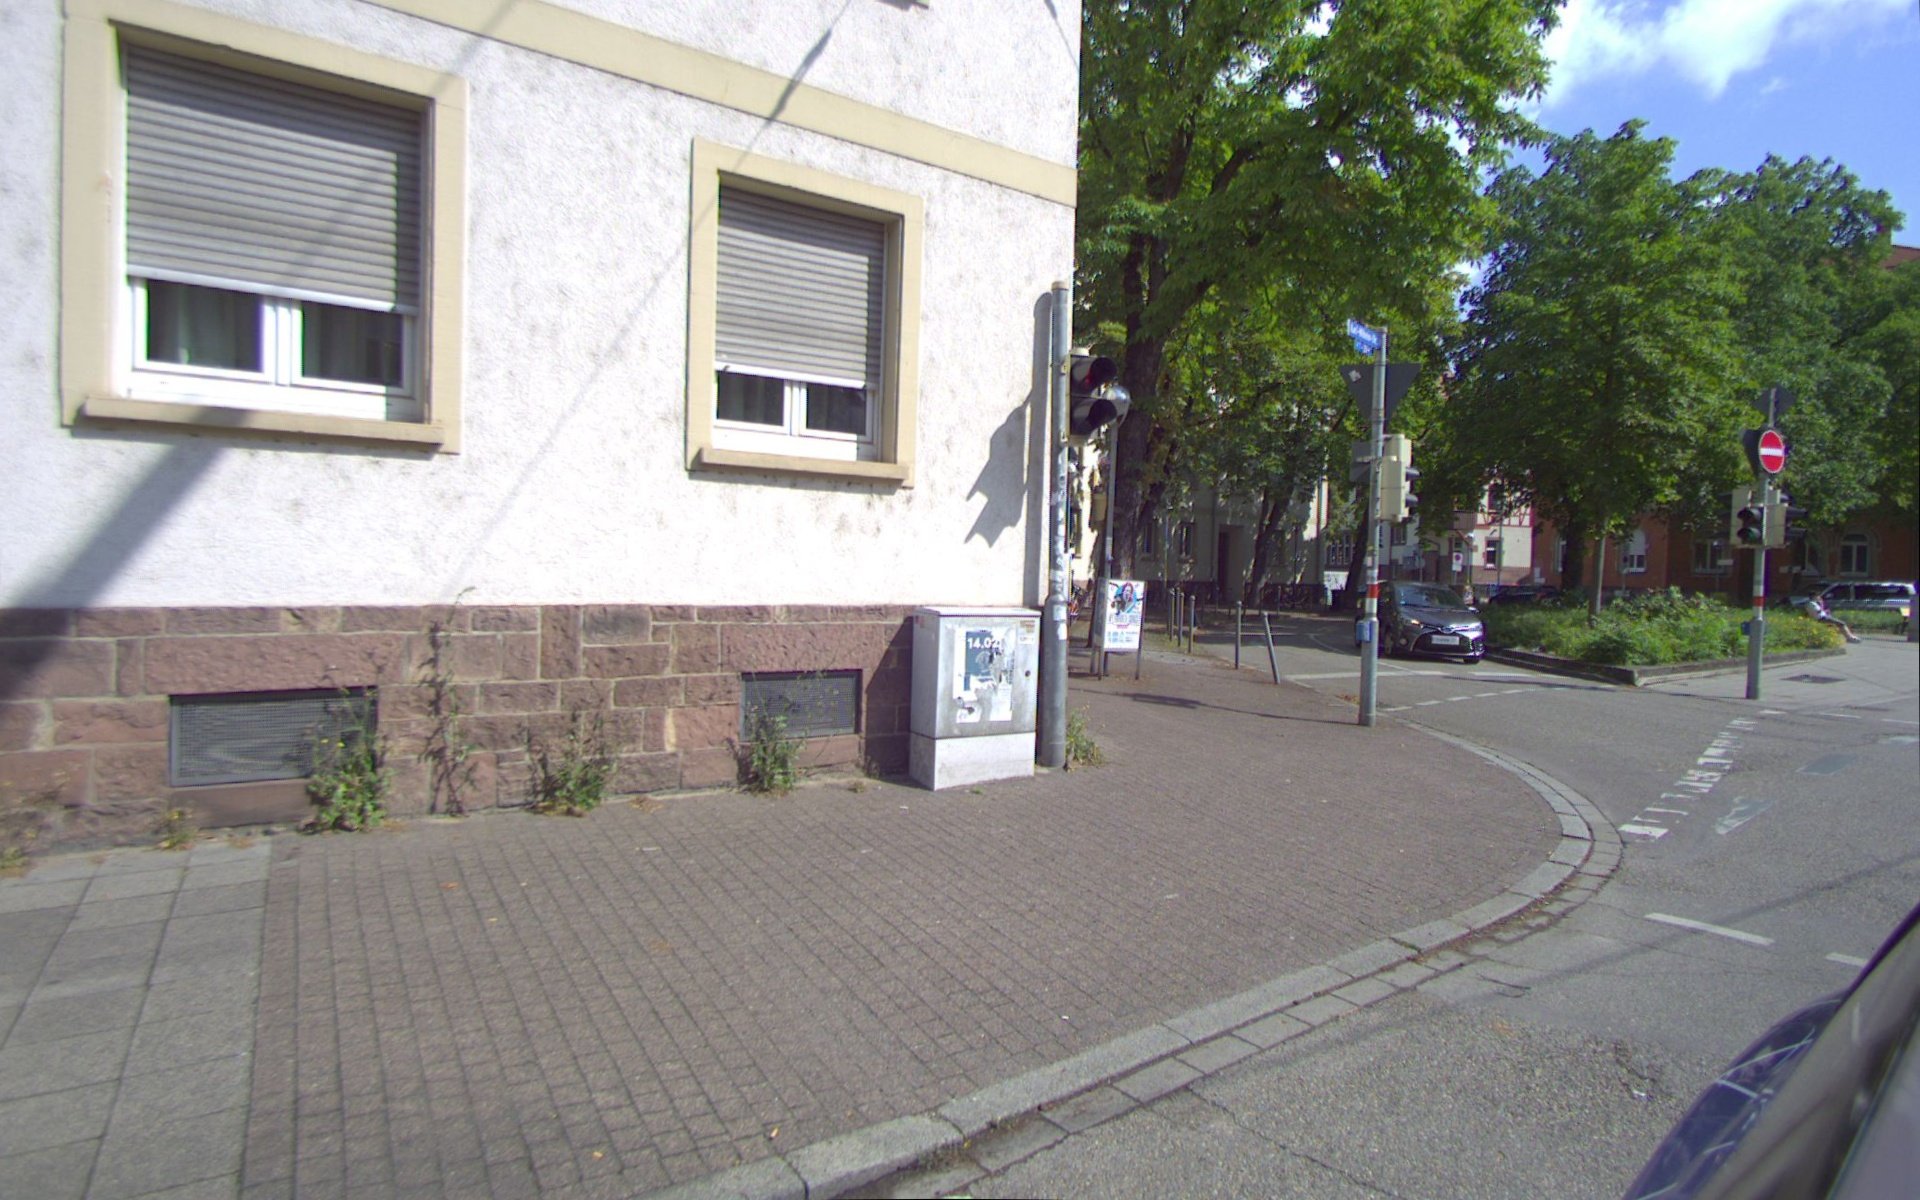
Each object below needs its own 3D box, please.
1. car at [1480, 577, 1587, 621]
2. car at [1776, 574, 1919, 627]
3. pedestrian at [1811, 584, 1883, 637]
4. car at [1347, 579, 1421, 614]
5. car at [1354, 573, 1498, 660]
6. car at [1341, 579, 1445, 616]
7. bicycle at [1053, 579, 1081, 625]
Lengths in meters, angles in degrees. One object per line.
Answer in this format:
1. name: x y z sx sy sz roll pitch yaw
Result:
1. car: 32.551 -0.106 57.623 2.236 2.297 5.246 1 2 -13
2. car: 37.345 0.005 41.718 5.202 2.038 2.278 2 2 9
3. pedestrian: 22.596 0.248 25.784 0.891 1.216 1.160 0 5 -40
4. car: 29.850 -0.296 71.386 2.236 2.297 5.245 1 2 -10
5. car: 9.299 0.250 20.500 1.603 1.509 3.722 3 2 9
6. car: 19.111 -0.106 44.785 1.620 1.571 3.997 0 0 -38
7. bicycle: 2.540 0.024 23.873 0.298 1.022 1.468 5 3 17
